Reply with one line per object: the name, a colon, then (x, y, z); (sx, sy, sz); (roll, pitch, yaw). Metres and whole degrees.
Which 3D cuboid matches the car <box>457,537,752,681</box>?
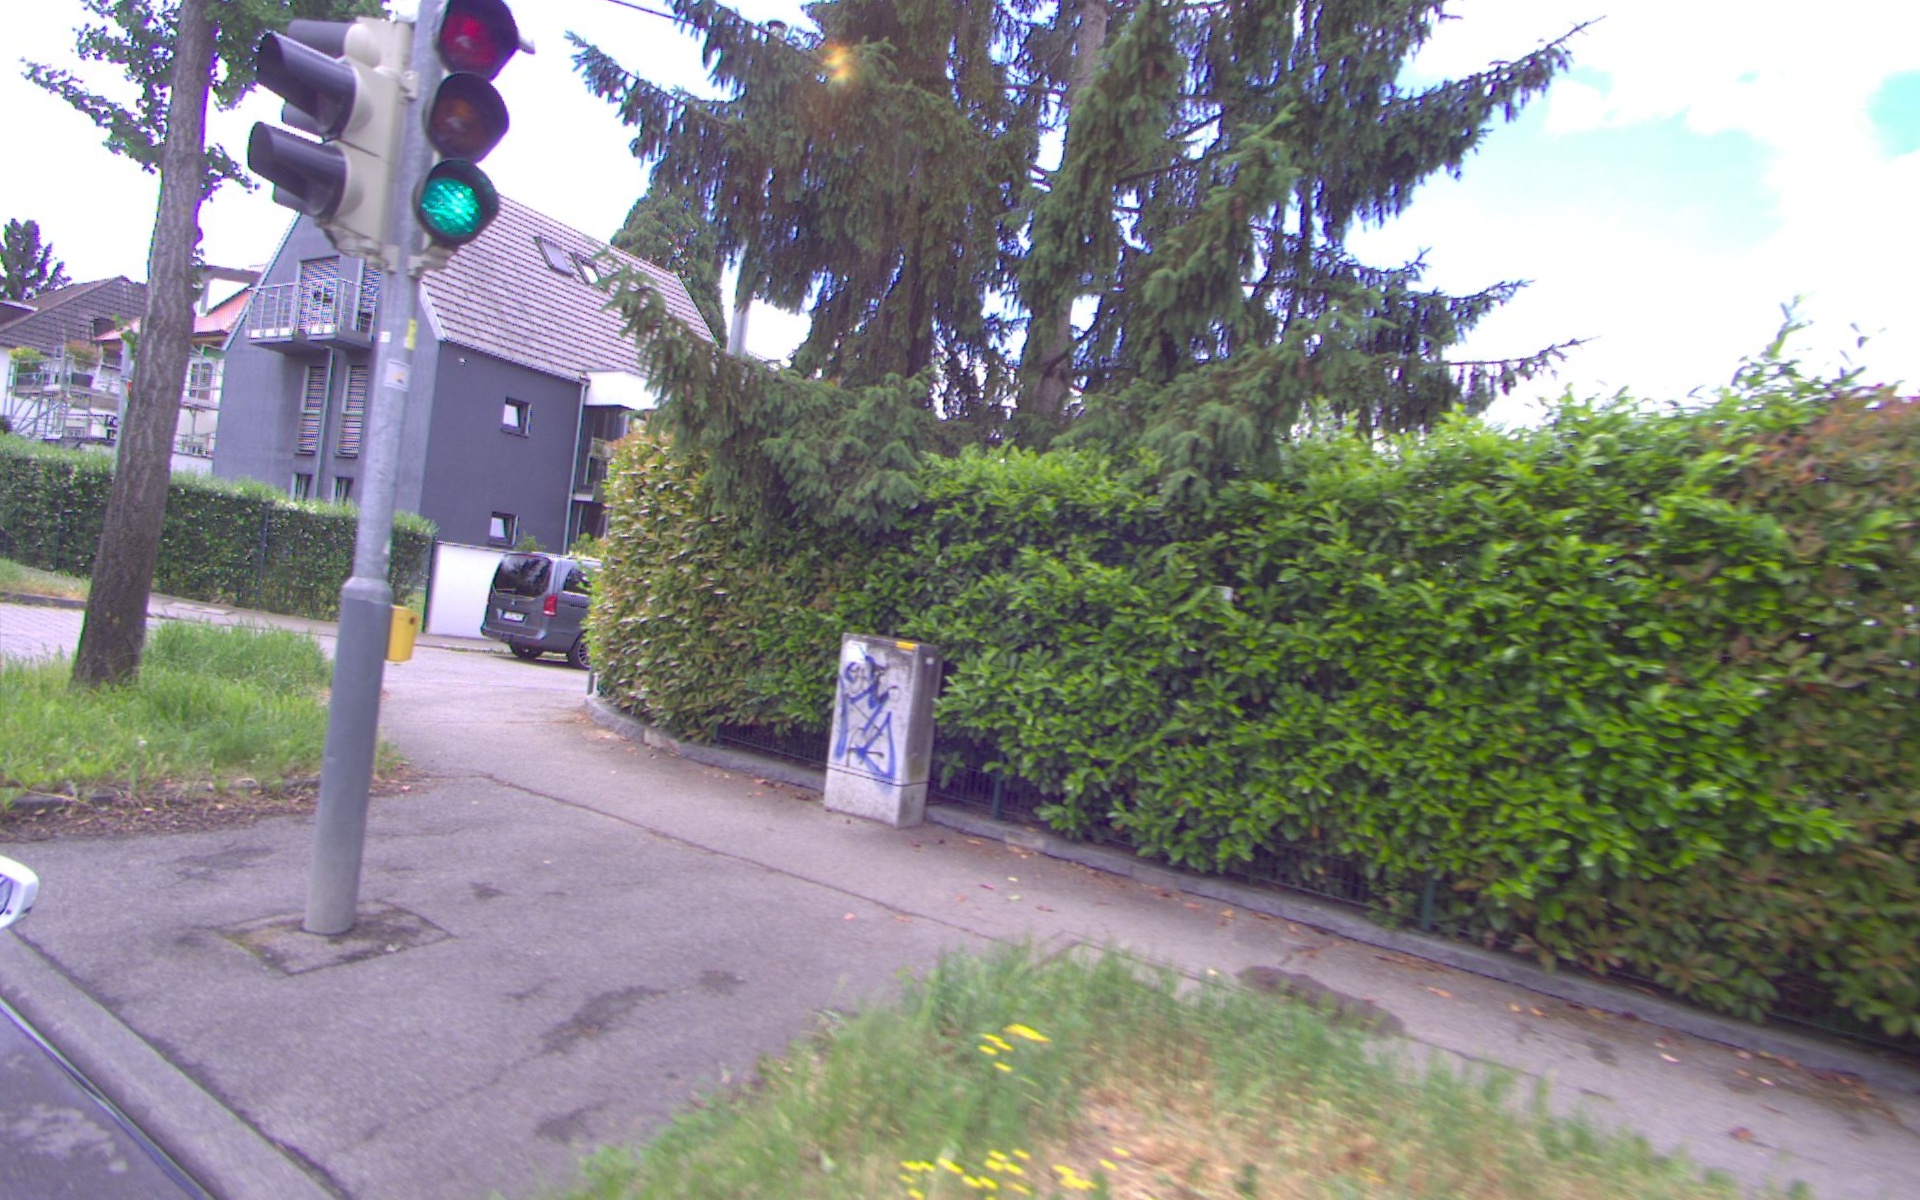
car: (-6.488, 0.283, 18.972); (2.123, 1.988, 4.770); (8, -2, 31)
